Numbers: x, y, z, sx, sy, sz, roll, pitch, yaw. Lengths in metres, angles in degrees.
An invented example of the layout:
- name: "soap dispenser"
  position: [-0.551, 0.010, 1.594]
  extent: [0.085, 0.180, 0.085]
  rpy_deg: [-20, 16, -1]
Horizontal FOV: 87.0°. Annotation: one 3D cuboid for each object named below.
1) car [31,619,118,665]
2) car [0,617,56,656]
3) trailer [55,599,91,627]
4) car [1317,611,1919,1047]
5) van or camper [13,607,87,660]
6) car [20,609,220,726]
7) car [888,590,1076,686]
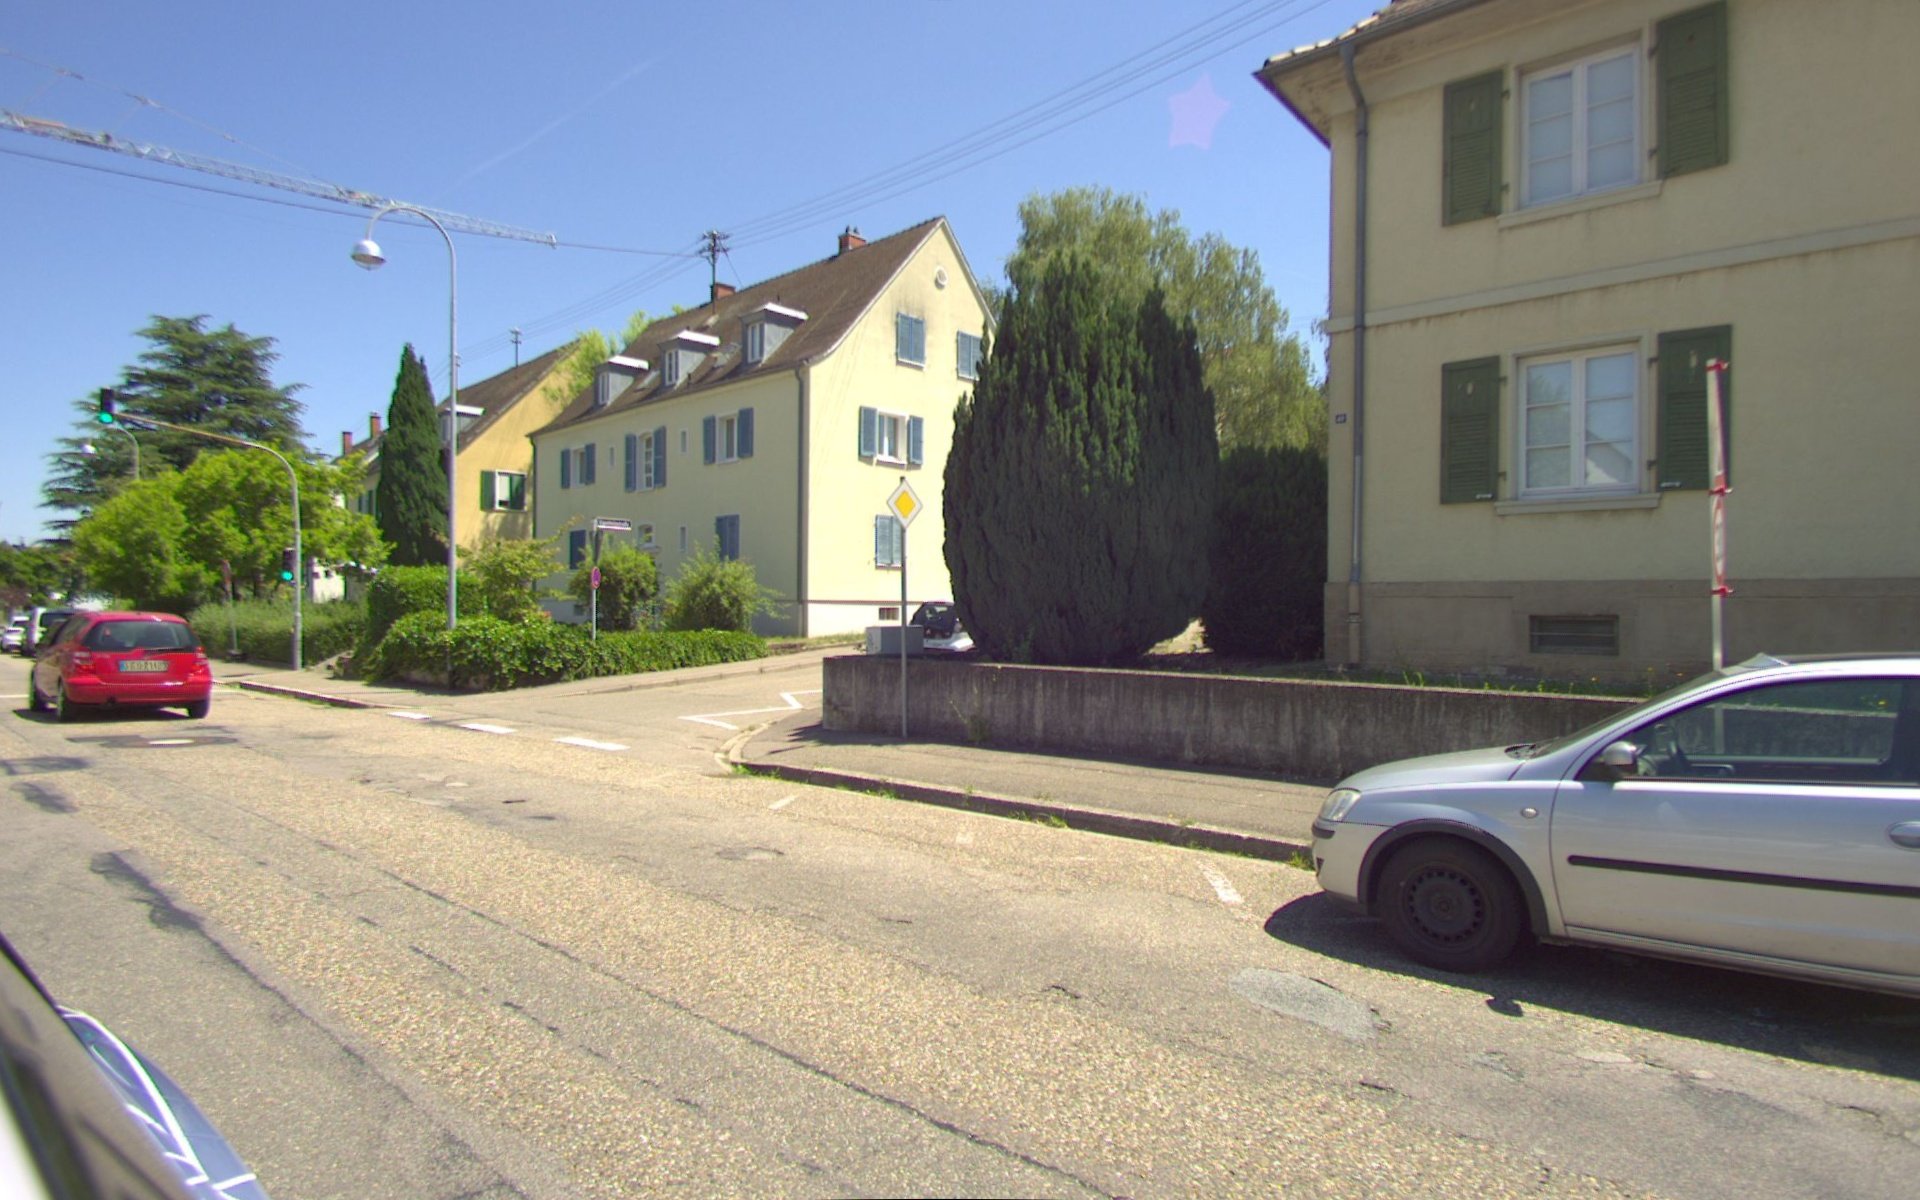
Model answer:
- name: "car"
  position: [-29.213, 1.370, 33.355]
  extent: [3.926, 1.423, 1.663]
  rpy_deg: [-1, -3, 42]
- name: "car"
  position: [-37.041, 1.438, 40.066]
  extent: [1.661, 1.452, 4.250]
  rpy_deg: [4, -3, -44]
- name: "trailer"
  position: [-68.890, 1.055, 78.642]
  extent: [1.791, 2.049, 4.007]
  rpy_deg: [4, -4, -39]
- name: "car"
  position: [3.710, 0.802, 4.131]
  extent: [3.920, 1.458, 1.742]
  rpy_deg: [-1, -3, 39]
- name: "van or camper"
  position: [-32.947, 1.208, 36.608]
  extent: [3.986, 1.818, 1.662]
  rpy_deg: [-1, -3, 44]
- name: "car"
  position: [-13.029, 0.971, 15.628]
  extent: [3.695, 1.578, 1.795]
  rpy_deg: [-1, -3, 42]
- name: "car"
  position: [0.455, 0.627, 18.812]
  extent: [3.165, 1.467, 1.737]
  rpy_deg: [-5, 3, -43]
